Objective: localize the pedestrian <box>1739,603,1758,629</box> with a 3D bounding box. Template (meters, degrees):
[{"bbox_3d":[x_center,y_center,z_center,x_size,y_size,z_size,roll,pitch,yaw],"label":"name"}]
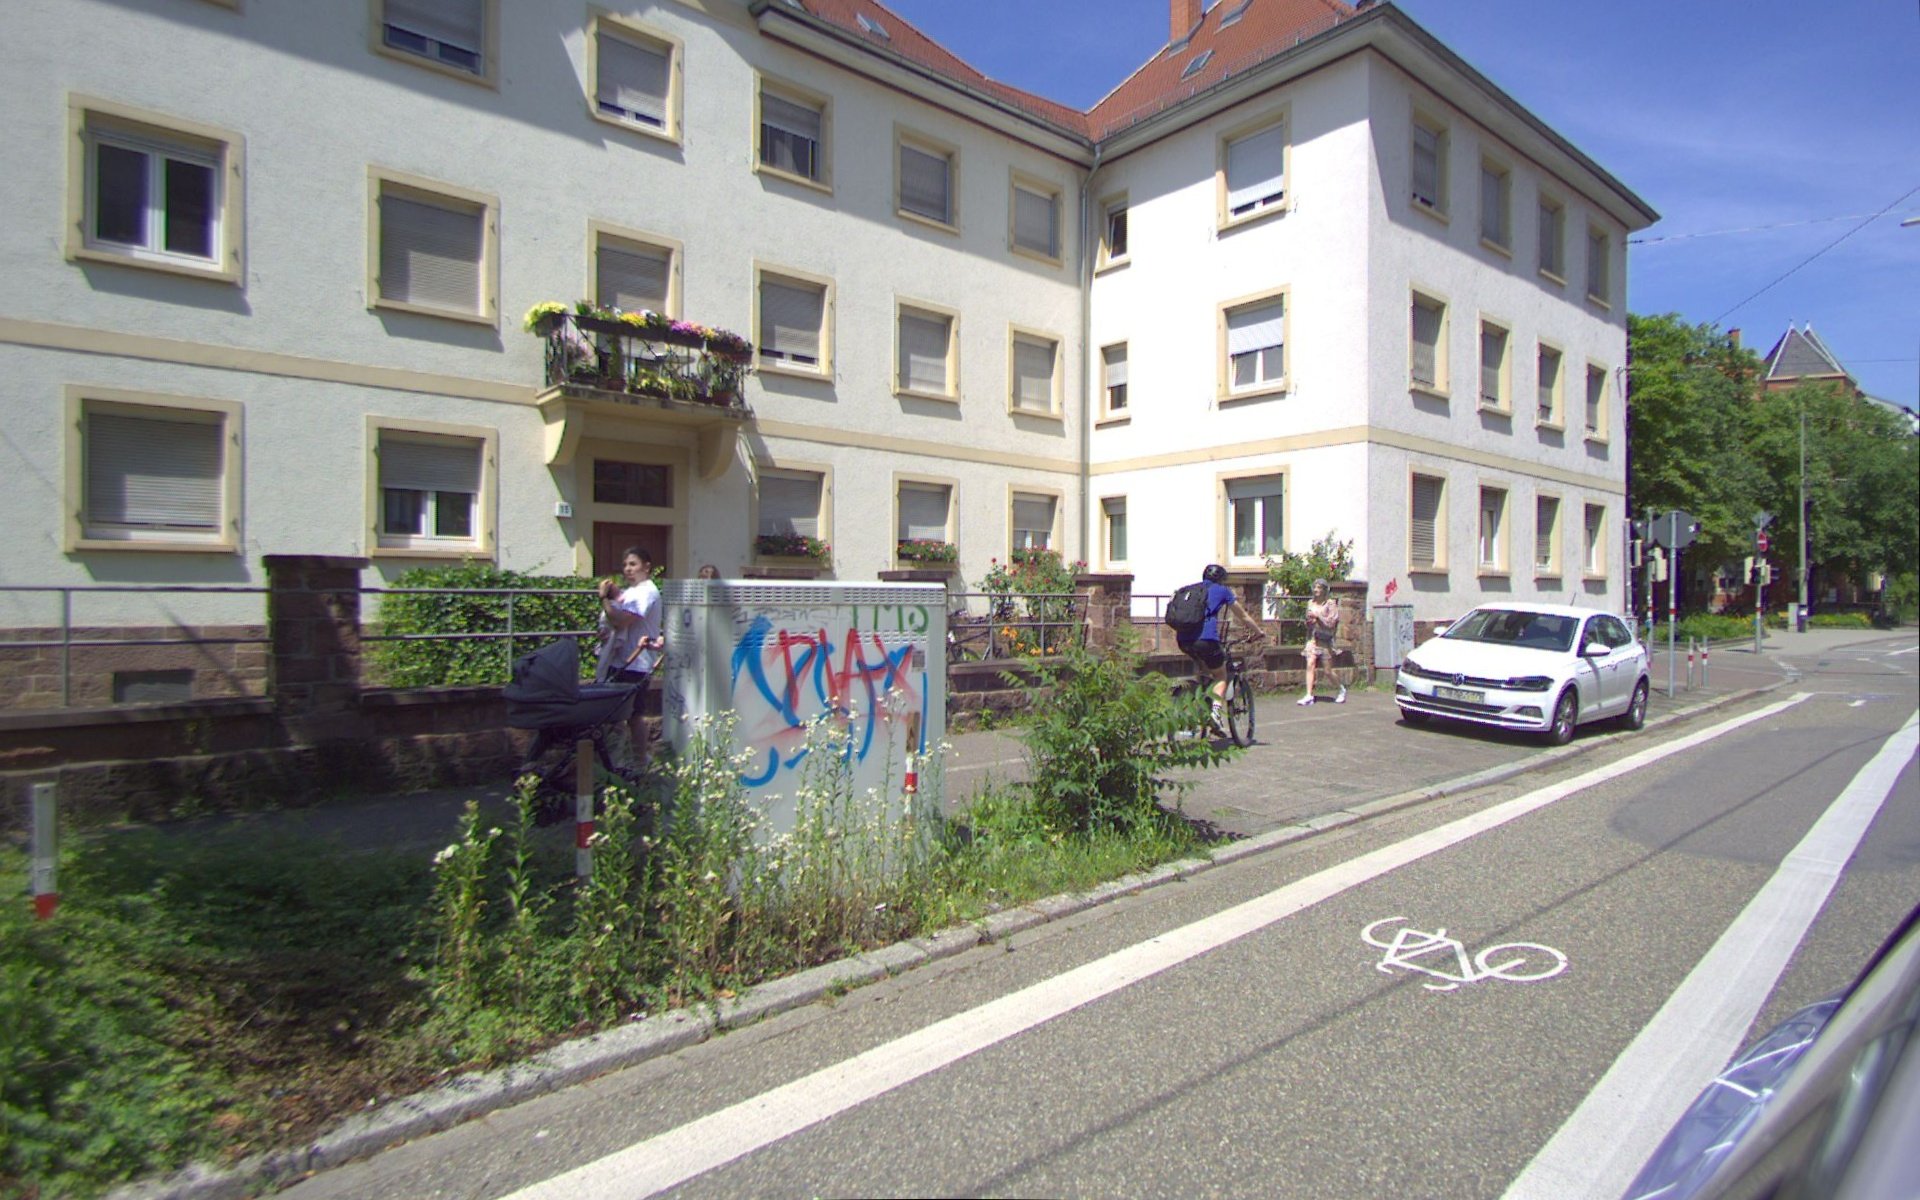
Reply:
[{"bbox_3d":[35.646,0.732,45.750,0.648,1.165,0.635,-1,-1,35],"label":"pedestrian"}]

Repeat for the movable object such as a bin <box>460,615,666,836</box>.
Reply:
[{"bbox_3d":[-2.477,0.720,6.325,1.018,1.200,0.699,0,2,-41],"label":"movable object such as a bin"}]

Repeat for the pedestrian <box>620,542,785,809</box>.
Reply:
[{"bbox_3d":[-1.764,0.462,6.938,0.854,1.690,0.699,0,2,-41],"label":"pedestrian"}]

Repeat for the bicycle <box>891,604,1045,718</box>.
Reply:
[{"bbox_3d":[0.112,0.638,11.348,1.720,1.190,0.598,0,0,-36],"label":"bicycle"}]

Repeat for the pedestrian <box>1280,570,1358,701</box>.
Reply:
[{"bbox_3d":[4.791,0.456,13.523,0.743,1.691,0.698,0,-1,-41],"label":"pedestrian"}]

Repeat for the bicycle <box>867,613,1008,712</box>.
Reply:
[{"bbox_3d":[-0.236,0.706,12.077,0.527,1.077,1.835,0,0,45],"label":"bicycle"}]

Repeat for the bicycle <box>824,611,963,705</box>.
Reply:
[{"bbox_3d":[-0.805,0.685,12.669,0.597,1.077,1.812,0,0,45],"label":"bicycle"}]

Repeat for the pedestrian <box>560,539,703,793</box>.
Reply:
[{"bbox_3d":[-2.347,0.424,7.223,0.743,1.690,0.699,0,2,-41],"label":"pedestrian"}]

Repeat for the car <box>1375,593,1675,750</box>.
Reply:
[{"bbox_3d":[6.808,0.697,12.026,4.084,1.427,1.781,0,4,-41],"label":"car"}]

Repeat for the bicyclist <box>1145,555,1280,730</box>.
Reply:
[{"bbox_3d":[2.276,0.357,9.116,0.991,1.470,0.713,0,0,-38],"label":"bicyclist"}]

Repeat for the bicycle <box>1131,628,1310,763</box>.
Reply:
[{"bbox_3d":[2.393,0.815,9.182,1.789,1.064,0.603,0,0,-38],"label":"bicycle"}]
